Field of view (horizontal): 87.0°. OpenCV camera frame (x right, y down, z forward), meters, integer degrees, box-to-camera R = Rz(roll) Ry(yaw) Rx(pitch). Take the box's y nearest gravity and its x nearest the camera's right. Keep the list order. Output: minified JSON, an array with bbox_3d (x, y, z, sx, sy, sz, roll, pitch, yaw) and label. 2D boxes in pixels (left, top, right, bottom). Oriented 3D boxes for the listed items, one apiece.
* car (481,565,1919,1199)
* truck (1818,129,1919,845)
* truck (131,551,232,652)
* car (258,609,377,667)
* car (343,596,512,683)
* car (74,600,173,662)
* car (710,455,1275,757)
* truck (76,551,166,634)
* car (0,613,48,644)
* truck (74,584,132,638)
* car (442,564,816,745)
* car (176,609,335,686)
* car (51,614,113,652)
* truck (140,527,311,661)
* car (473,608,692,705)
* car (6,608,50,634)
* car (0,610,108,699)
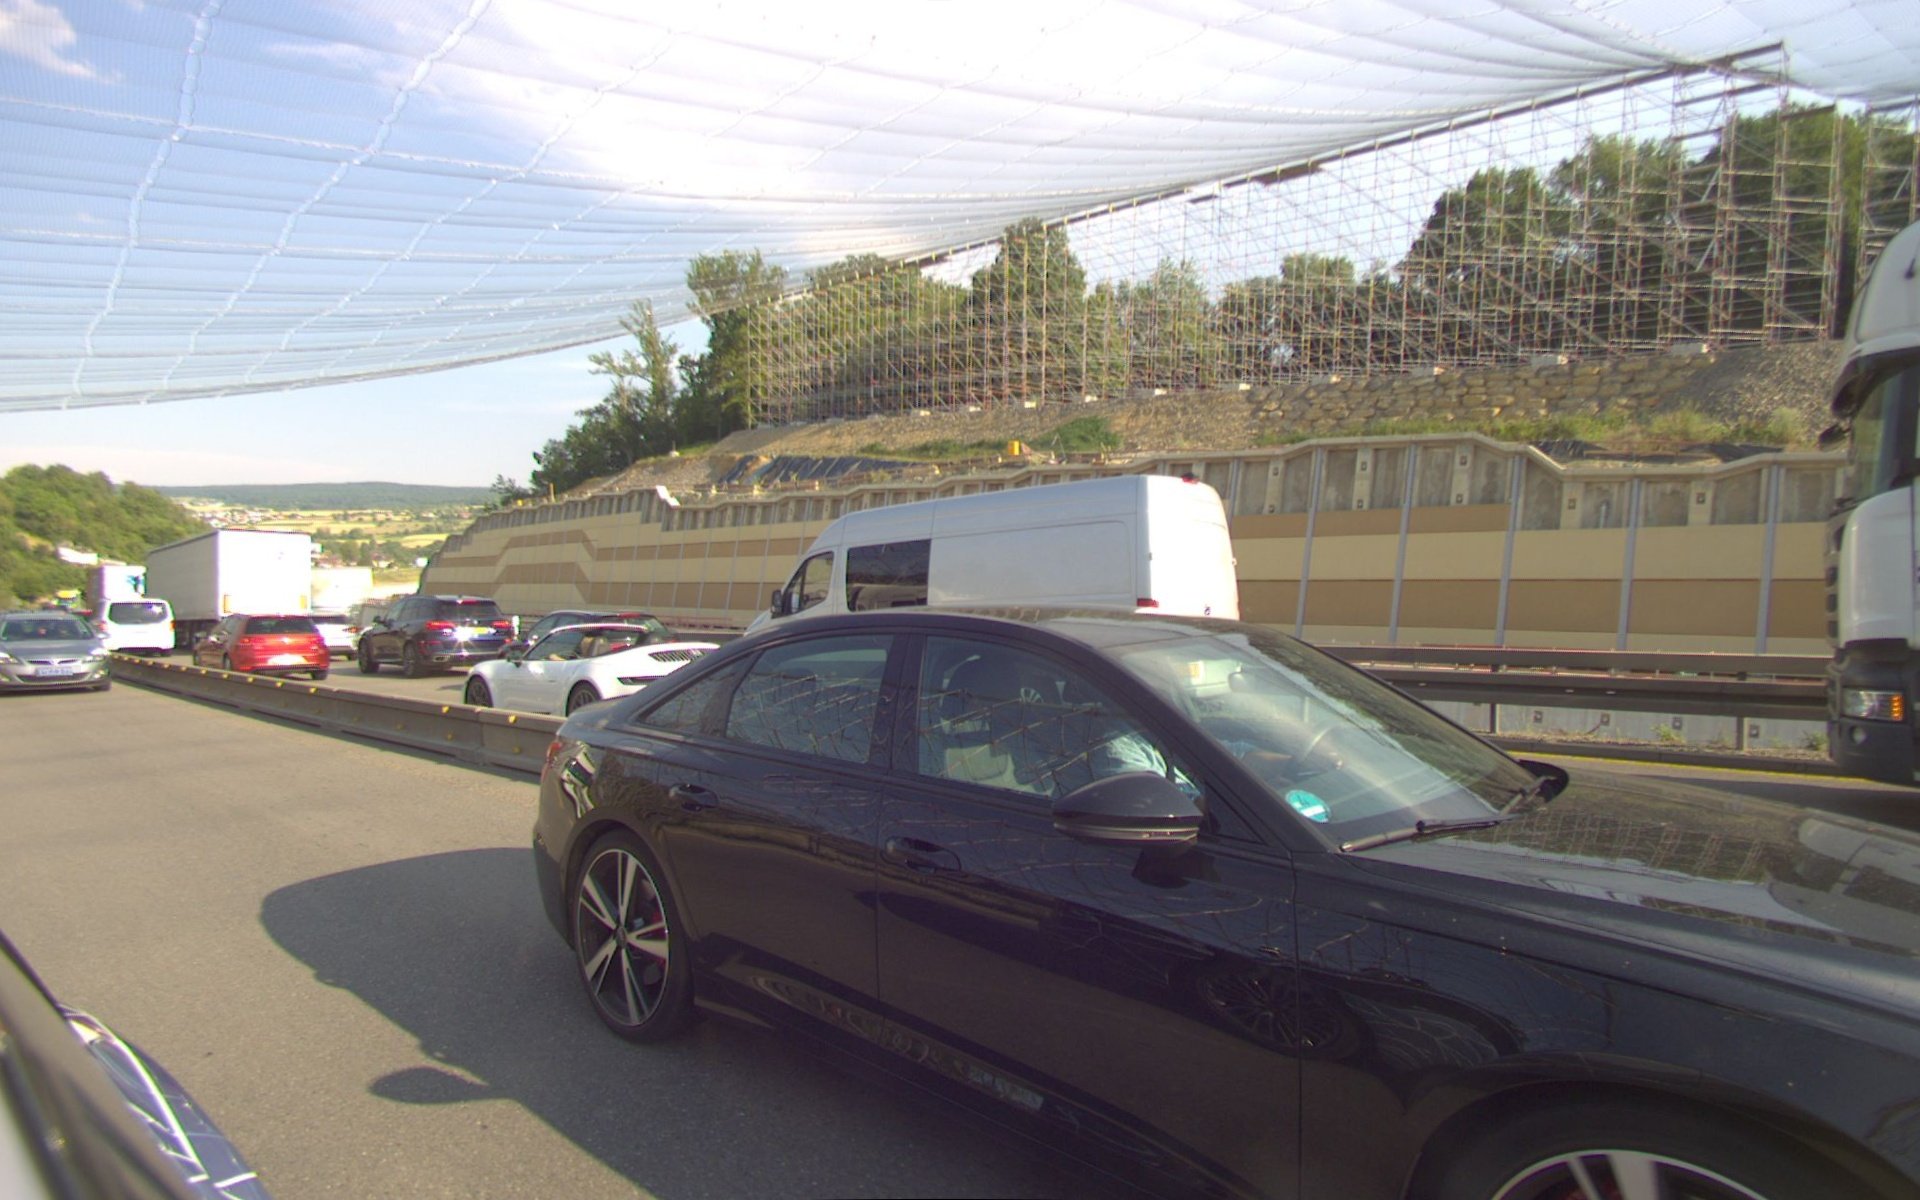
[{"bbox_3d":[0.643,0.676,2.952,4.959,1.409,1.914,-1,0,42],"label":"car"},{"bbox_3d":[8.583,-0.657,4.485,7.199,3.939,2.604,-1,0,40],"label":"truck"},{"bbox_3d":[-32.960,0.076,42.785,6.050,3.937,2.488,-1,0,44],"label":"truck"},{"bbox_3d":[-19.120,1.071,30.010,4.909,1.552,1.773,-1,0,43],"label":"car"},{"bbox_3d":[-12.075,0.814,22.785,4.936,1.740,1.804,-1,0,42],"label":"car"},{"bbox_3d":[-27.462,0.958,33.166,5.281,1.883,1.789,-1,0,43],"label":"car"},{"bbox_3d":[-0.020,0.078,12.319,7.078,2.733,2.218,-1,0,41],"label":"car"},{"bbox_3d":[-52.735,-0.369,63.294,2.952,4.593,17.419,-1,0,-44],"label":"truck"},{"bbox_3d":[-50.285,1.475,54.093,4.646,1.546,1.913,-1,0,43],"label":"car"},{"bbox_3d":[-80.459,1.012,94.850,2.952,4.593,17.419,-1,0,-44],"label":"truck"},{"bbox_3d":[-3.702,0.487,10.928,4.362,1.580,1.790,-1,0,40],"label":"car"},{"bbox_3d":[-15.025,0.929,21.488,4.517,1.430,1.789,-1,0,42],"label":"car"},{"bbox_3d":[-38.427,1.389,44.251,4.218,1.563,1.565,-1,0,43],"label":"car"},{"bbox_3d":[-28.059,-0.142,38.212,14.170,4.259,2.691,-1,0,44],"label":"truck"},{"bbox_3d":[-6.614,0.879,17.505,4.380,1.448,1.773,-1,0,43],"label":"car"},{"bbox_3d":[-58.012,1.269,62.976,1.912,1.530,4.982,-1,0,-44],"label":"car"},{"bbox_3d":[-17.336,0.946,18.957,4.355,1.484,1.736,-1,0,45],"label":"car"}]
